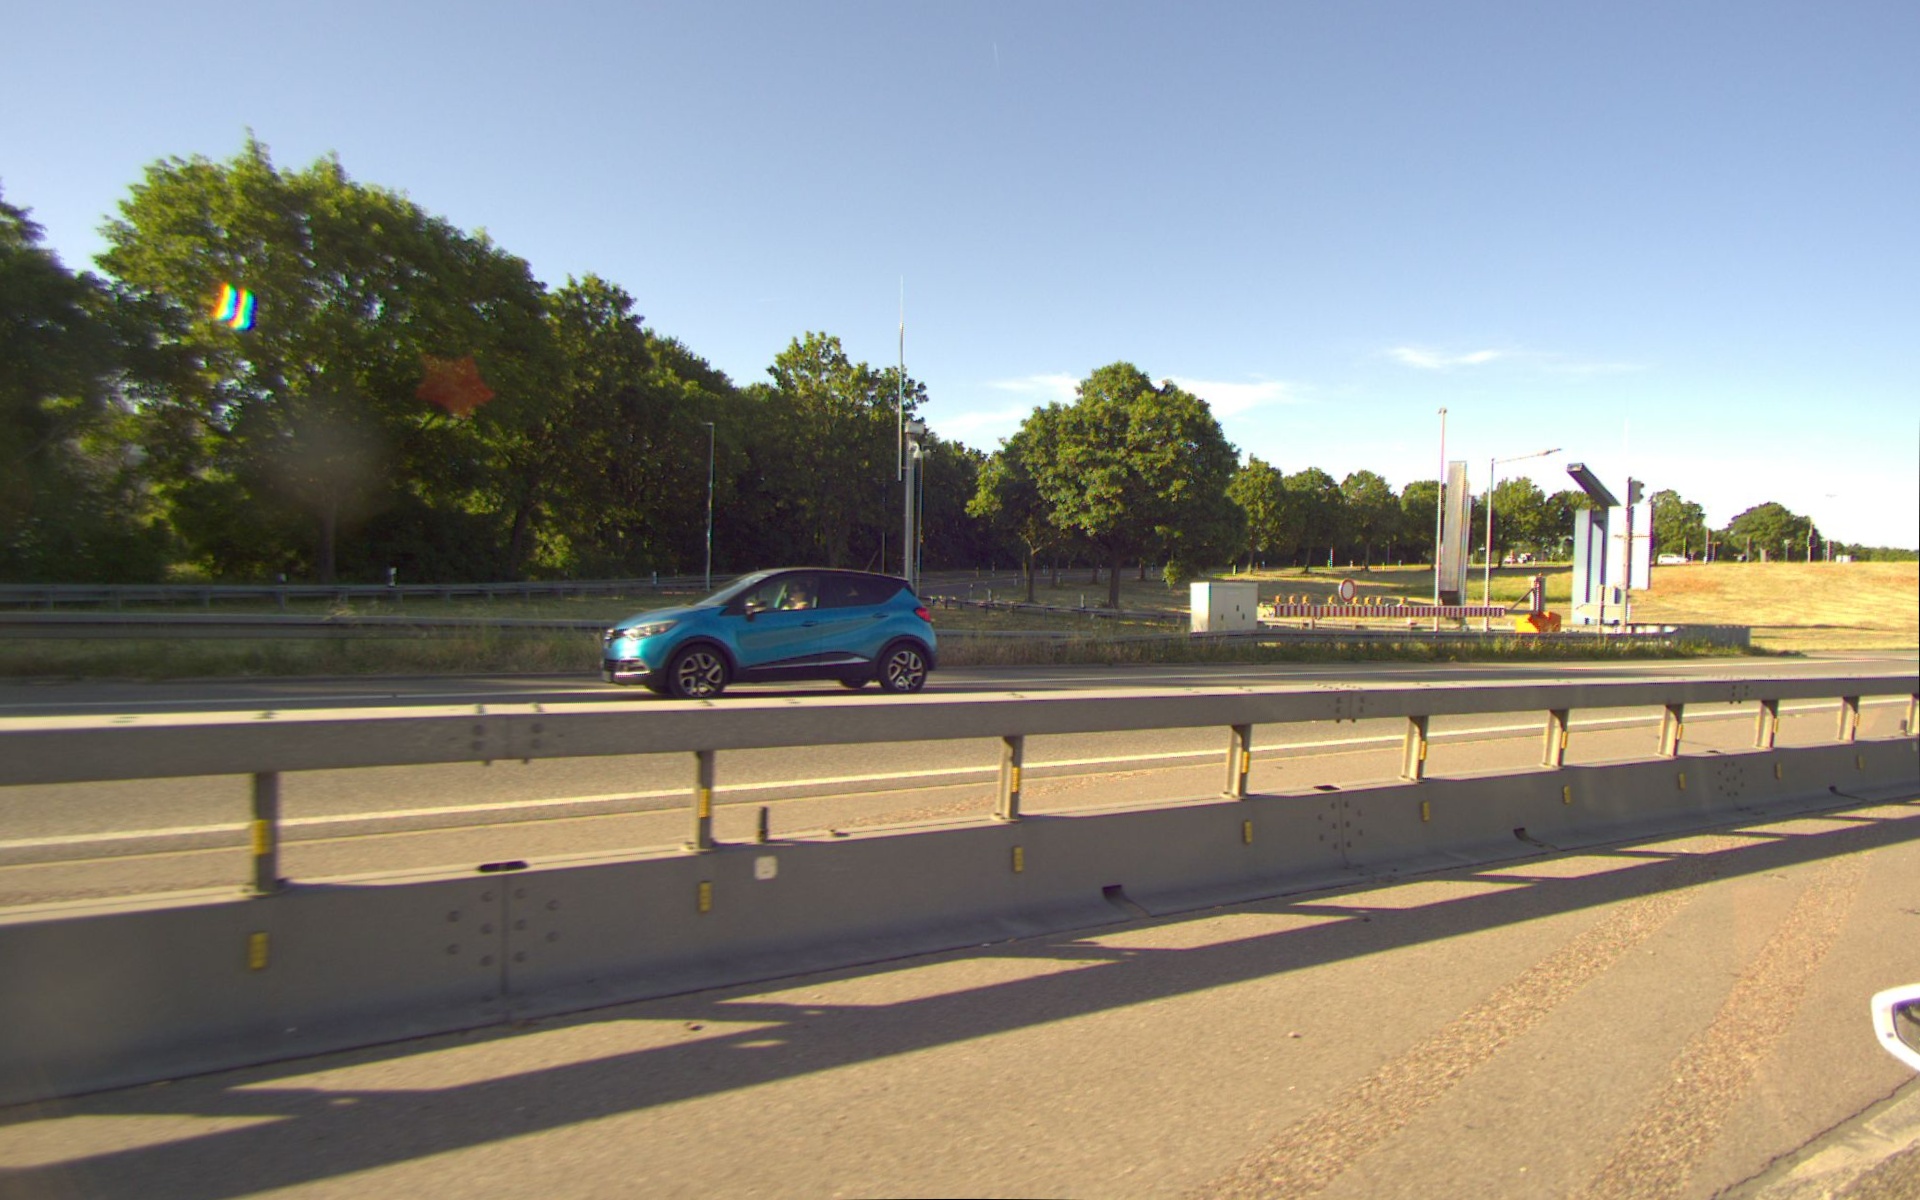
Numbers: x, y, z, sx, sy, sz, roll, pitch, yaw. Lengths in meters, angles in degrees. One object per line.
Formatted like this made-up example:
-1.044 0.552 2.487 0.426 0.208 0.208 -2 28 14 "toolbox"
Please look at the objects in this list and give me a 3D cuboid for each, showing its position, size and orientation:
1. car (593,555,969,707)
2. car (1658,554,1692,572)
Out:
-2.133 0.356 12.417 4.272 1.593 1.664 1 0 -32 "car"
118.860 -6.196 166.966 2.044 2.843 4.314 1 1 -11 "car"
